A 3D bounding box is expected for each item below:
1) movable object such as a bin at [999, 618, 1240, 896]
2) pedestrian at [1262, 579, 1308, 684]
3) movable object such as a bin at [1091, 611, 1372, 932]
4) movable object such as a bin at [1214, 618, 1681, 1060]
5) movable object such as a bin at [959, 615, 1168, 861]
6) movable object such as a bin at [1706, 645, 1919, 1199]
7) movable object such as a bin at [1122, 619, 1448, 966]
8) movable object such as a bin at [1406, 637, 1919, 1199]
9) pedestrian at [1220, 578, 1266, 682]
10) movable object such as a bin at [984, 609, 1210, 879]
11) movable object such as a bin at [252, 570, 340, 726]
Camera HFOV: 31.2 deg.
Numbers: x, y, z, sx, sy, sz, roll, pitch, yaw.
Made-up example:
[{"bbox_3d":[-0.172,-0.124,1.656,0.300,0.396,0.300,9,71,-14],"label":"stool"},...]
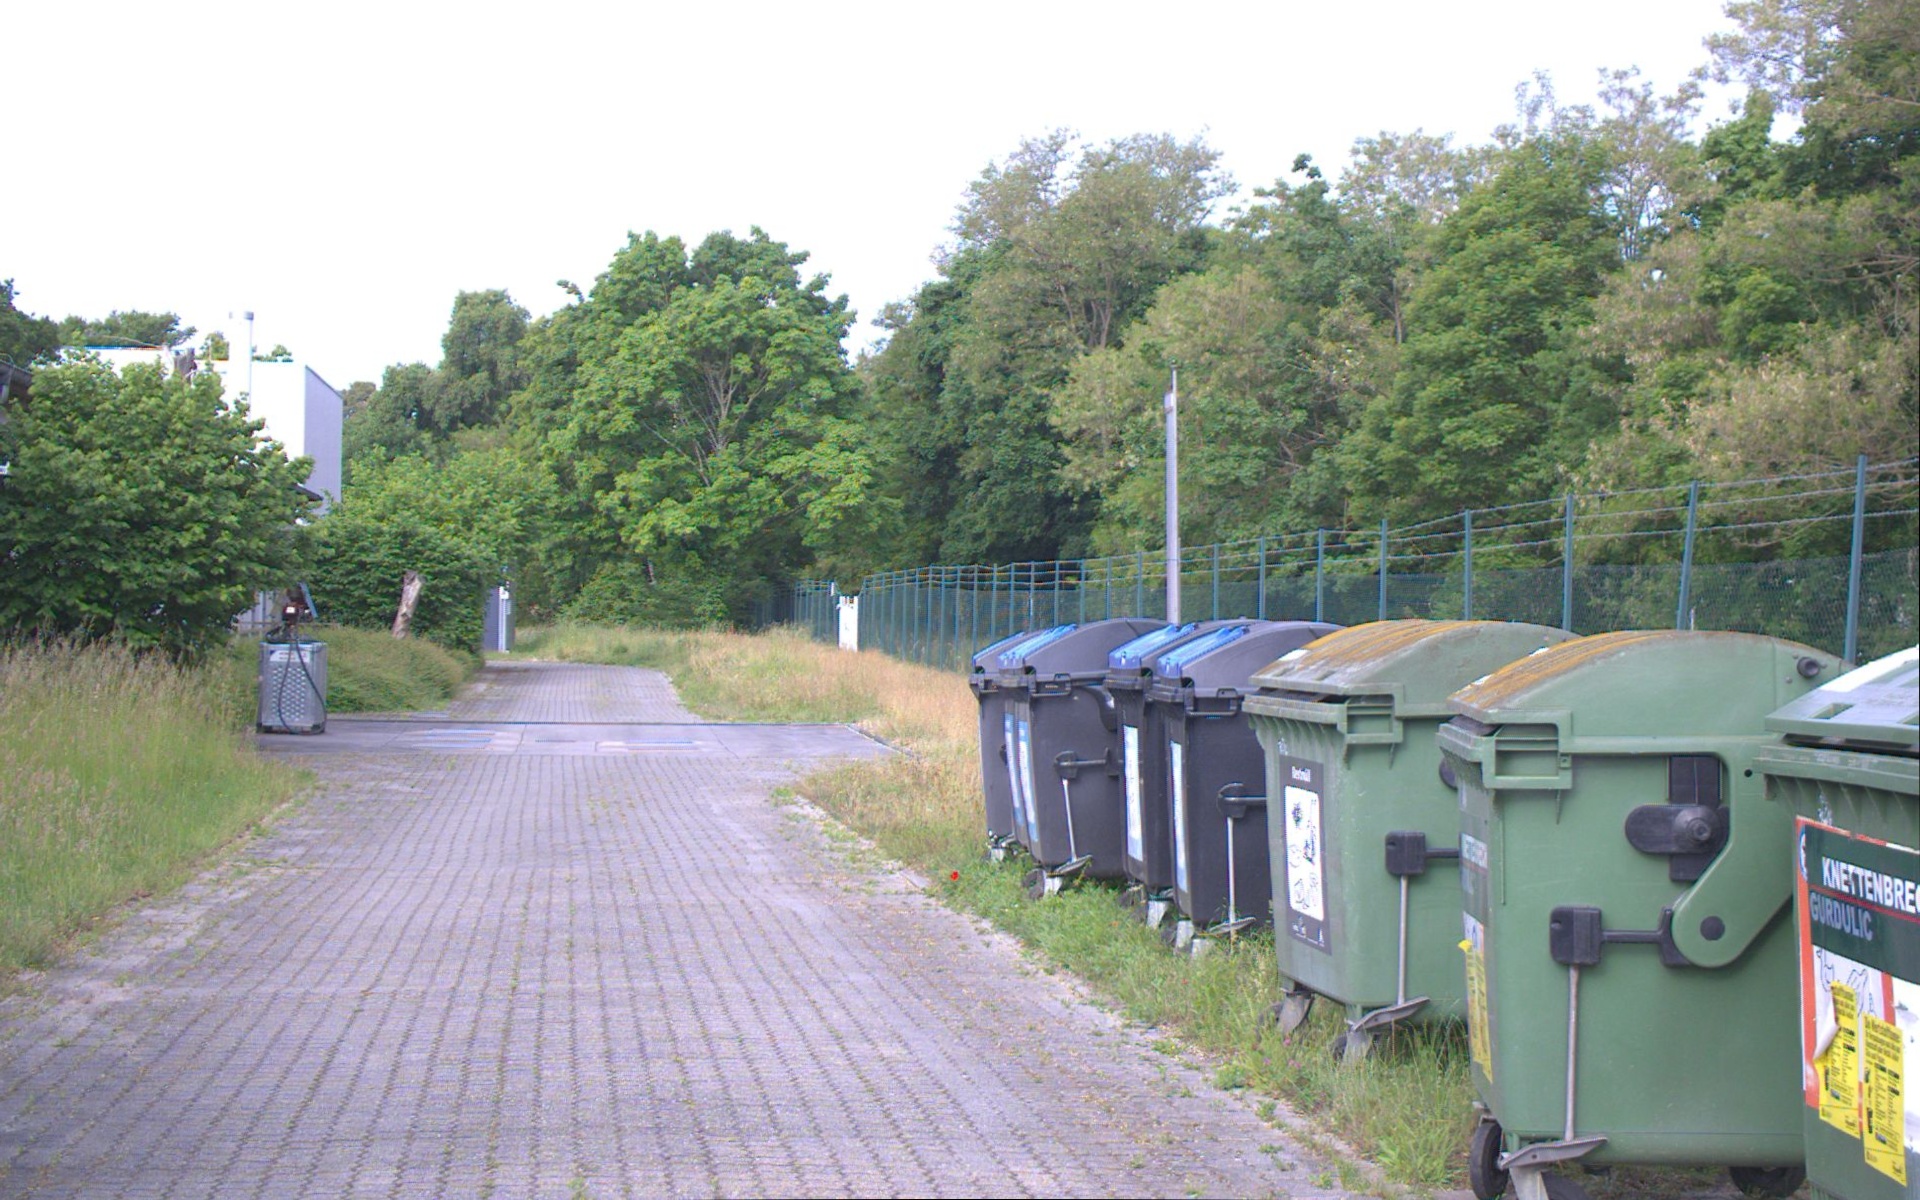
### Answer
[{"bbox_3d":[0.771,0.755,17.111,1.123,1.317,1.325,0,0,0],"label":"movable object such as a bin"},{"bbox_3d":[6.292,0.606,66.631,0.759,2.007,0.664,0,0,-7],"label":"pedestrian"},{"bbox_3d":[1.206,0.754,15.642,1.123,1.369,1.493,1,-1,-1],"label":"movable object such as a bin"},{"bbox_3d":[1.499,0.720,10.860,1.122,1.292,1.380,1,-1,-7],"label":"movable object such as a bin"},{"bbox_3d":[0.576,0.778,19.830,1.123,1.346,1.426,1,-1,-1],"label":"movable object such as a bin"},{"bbox_3d":[2.183,0.800,6.726,1.069,1.401,1.385,1,-1,-3],"label":"movable object such as a bin"},{"bbox_3d":[1.296,0.757,14.062,1.154,1.320,1.493,1,-1,-1],"label":"movable object such as a bin"},{"bbox_3d":[1.686,0.800,8.271,1.123,1.393,1.385,1,-1,5],"label":"movable object such as a bin"},{"bbox_3d":[5.482,0.576,66.602,0.759,2.007,0.664,0,0,-7],"label":"pedestrian"},{"bbox_3d":[0.713,0.754,18.414,1.123,1.375,1.325,1,-1,-1],"label":"movable object such as a bin"},{"bbox_3d":[-8.520,0.612,44.141,0.935,1.975,0.853,0,0,3],"label":"movable object such as a bin"}]
